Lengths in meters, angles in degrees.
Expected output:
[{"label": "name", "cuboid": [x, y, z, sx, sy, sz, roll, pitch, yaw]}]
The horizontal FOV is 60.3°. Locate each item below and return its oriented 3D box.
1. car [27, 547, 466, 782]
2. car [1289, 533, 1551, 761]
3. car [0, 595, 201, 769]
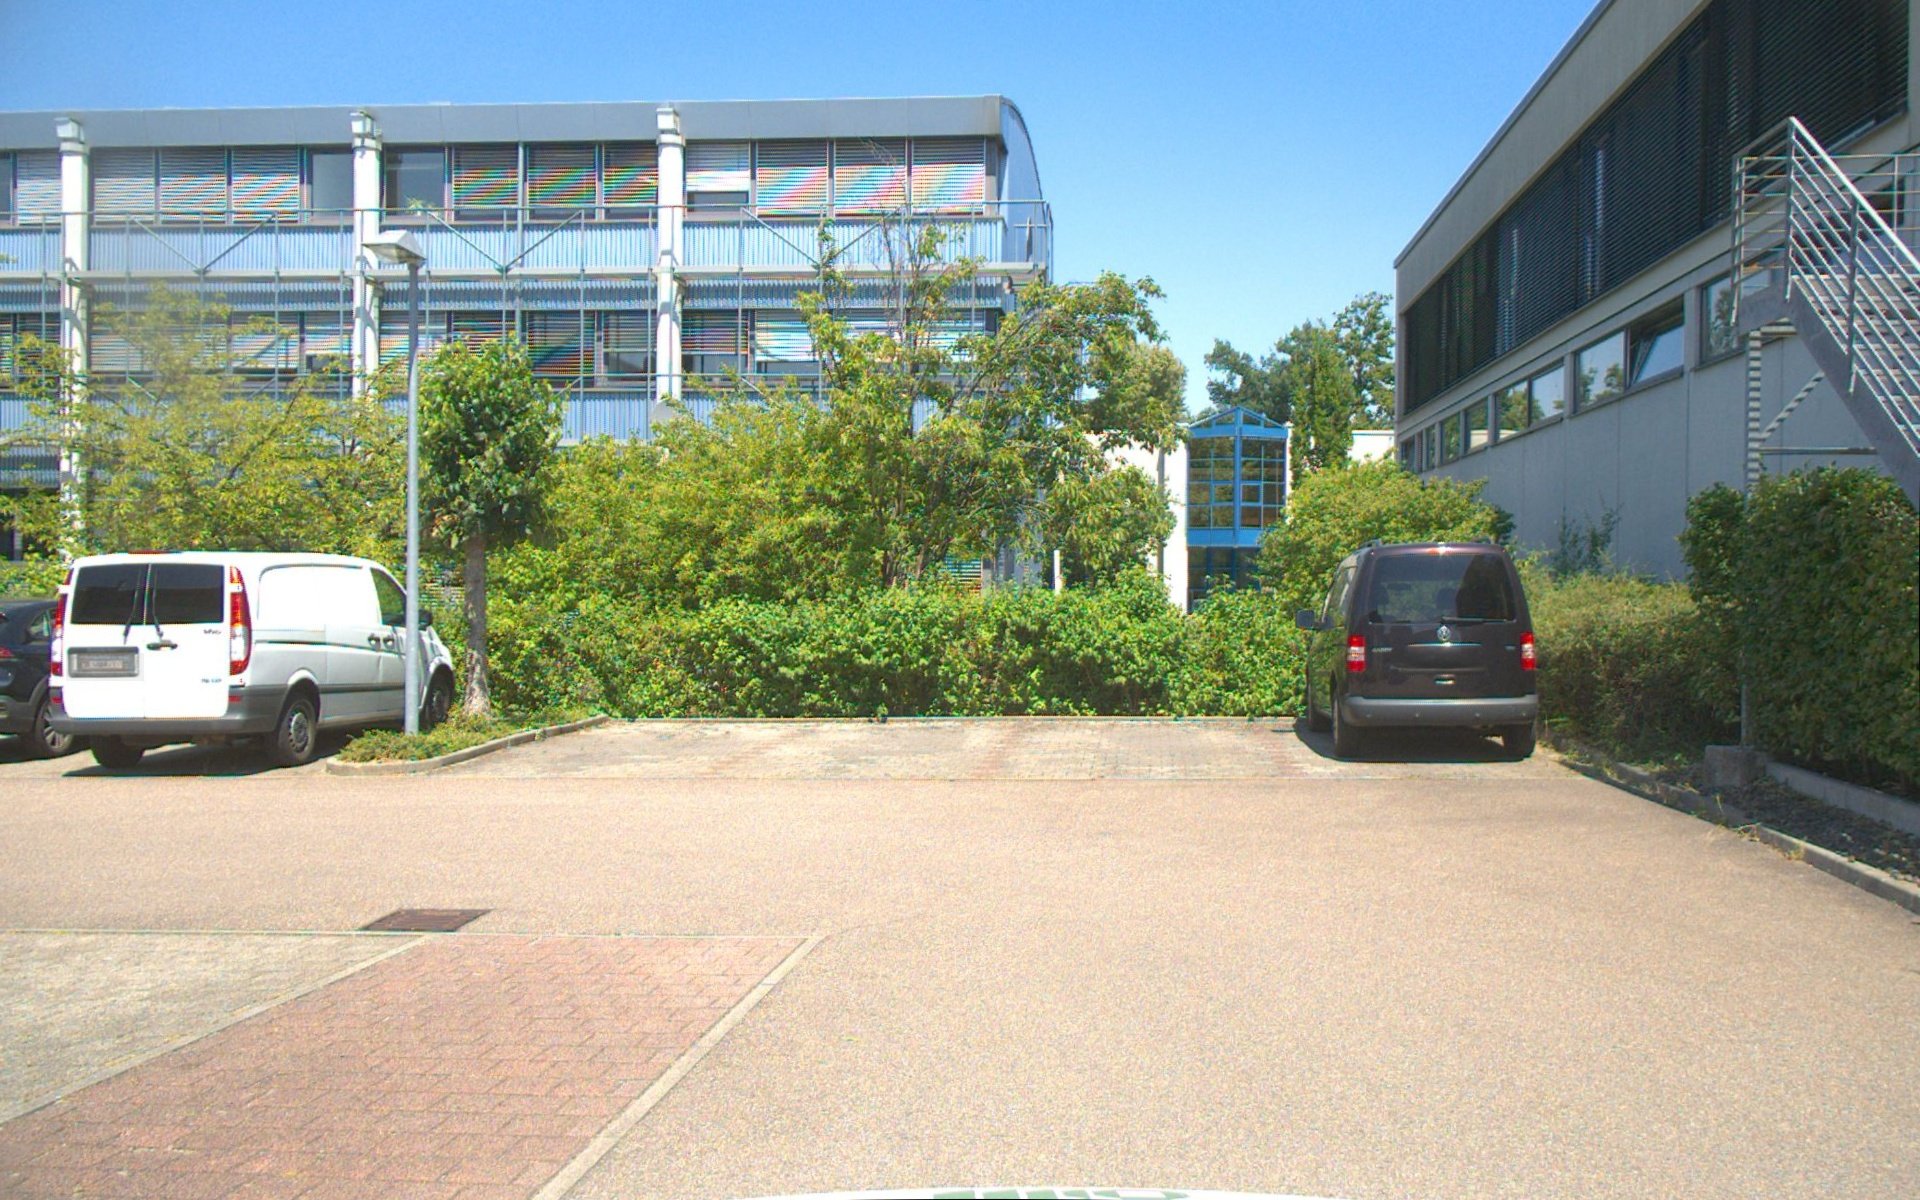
[{"label": "car", "cuboid": [-6.683, 0.502, 16.215, 1.872, 1.938, 4.811, -1, 1, 5]}, {"label": "car", "cuboid": [4.202, 0.376, 15.703, 1.706, 1.869, 4.003, -1, 0, 5]}, {"label": "car", "cuboid": [-9.439, 0.749, 16.848, 1.719, 1.502, 3.998, -1, 1, -3]}]
